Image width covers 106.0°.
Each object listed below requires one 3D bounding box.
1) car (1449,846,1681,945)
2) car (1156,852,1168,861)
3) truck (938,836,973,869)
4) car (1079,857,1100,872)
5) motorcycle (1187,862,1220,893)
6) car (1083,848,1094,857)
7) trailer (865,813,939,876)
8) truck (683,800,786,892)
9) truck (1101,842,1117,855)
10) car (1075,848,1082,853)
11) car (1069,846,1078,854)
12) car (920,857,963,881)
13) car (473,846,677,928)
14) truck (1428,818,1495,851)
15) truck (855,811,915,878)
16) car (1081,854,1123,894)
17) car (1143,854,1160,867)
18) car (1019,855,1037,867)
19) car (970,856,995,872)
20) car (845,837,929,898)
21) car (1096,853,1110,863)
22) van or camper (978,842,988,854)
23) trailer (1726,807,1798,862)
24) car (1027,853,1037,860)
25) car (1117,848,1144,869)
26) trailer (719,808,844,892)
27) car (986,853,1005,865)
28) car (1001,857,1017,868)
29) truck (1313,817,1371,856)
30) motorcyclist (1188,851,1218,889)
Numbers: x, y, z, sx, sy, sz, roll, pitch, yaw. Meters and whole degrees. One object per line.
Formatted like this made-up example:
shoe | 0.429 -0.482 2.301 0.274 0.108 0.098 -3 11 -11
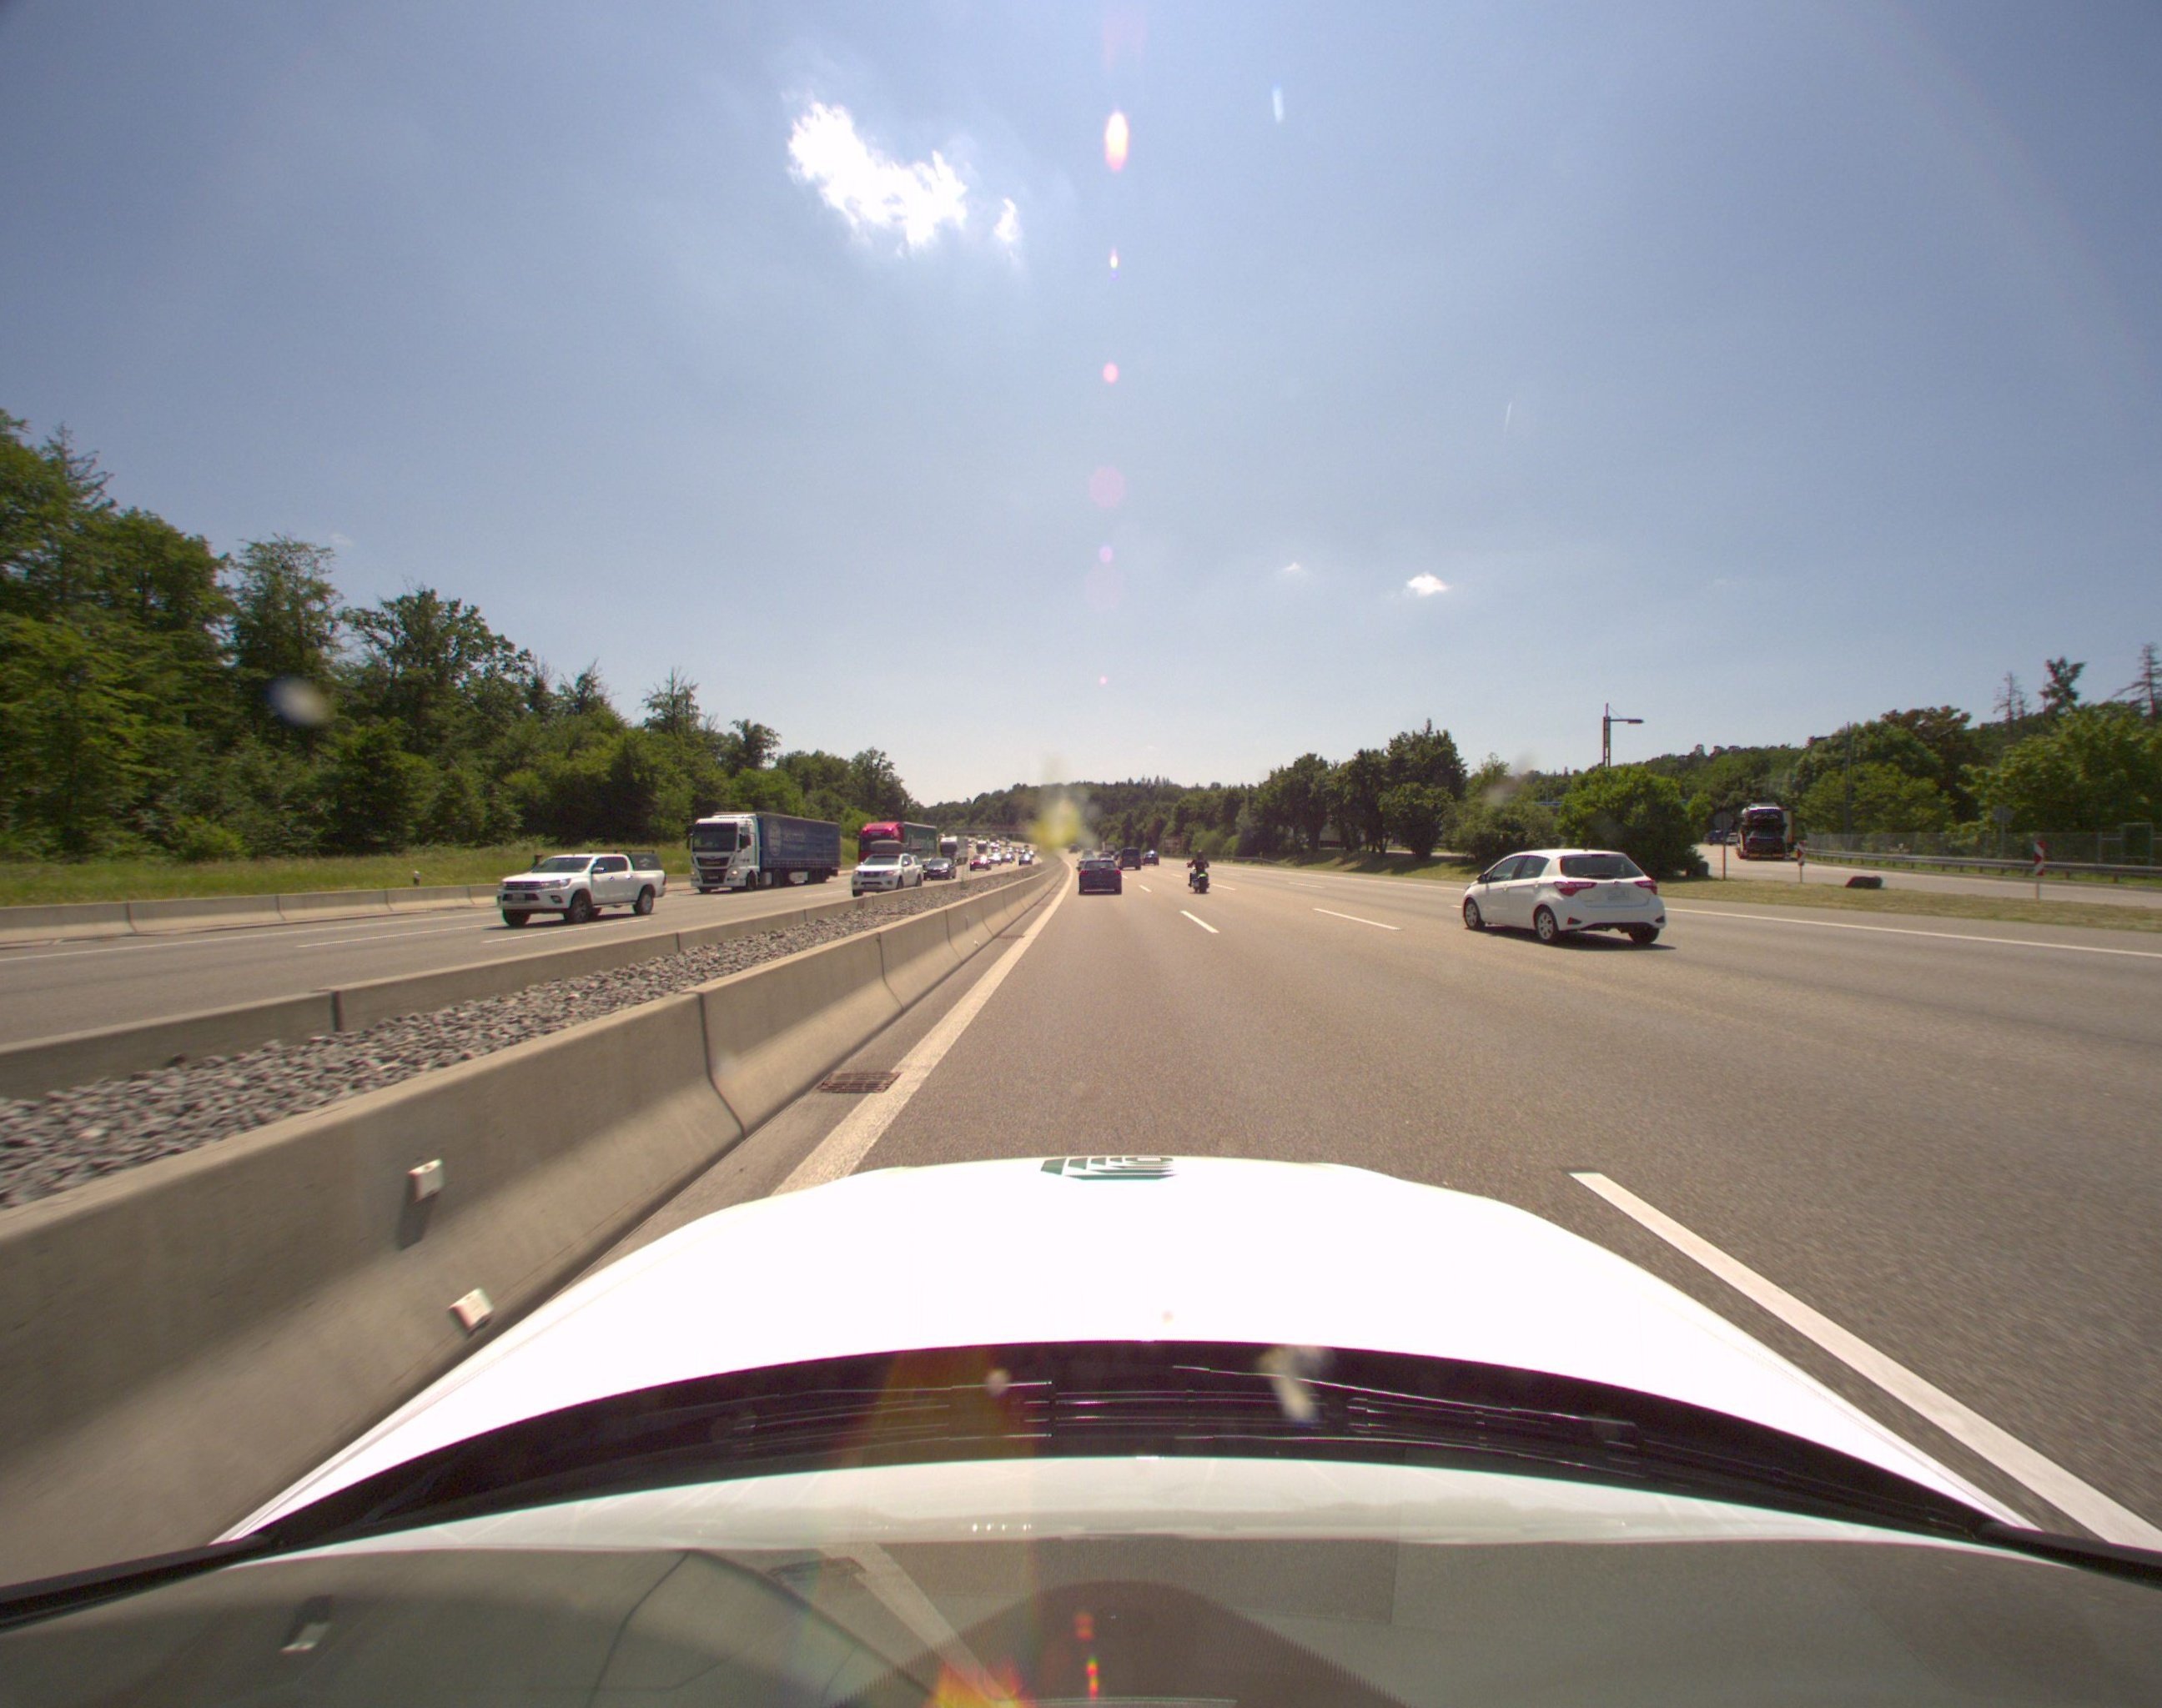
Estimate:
car | 8.022 0.614 14.037 1.659 1.433 4.380 -1 0 4
car | 11.800 0.347 119.106 1.602 1.212 3.462 -1 -2 3
truck | -18.122 -0.180 118.710 2.892 4.351 16.543 -1 0 -2
car | 0.711 0.895 71.964 1.777 1.265 3.458 -2 0 -1
motorcycle | 4.746 0.892 31.636 0.974 1.129 2.271 -1 0 1
car | 1.495 -0.382 160.900 1.987 1.684 4.424 2 0 0
trailer | -13.523 -0.692 63.146 2.493 4.351 14.301 0 0 0
truck | -17.713 -0.362 42.165 2.493 4.351 6.604 -1 0 0
truck | 6.462 -1.286 187.825 2.724 2.786 5.669 2 0 -7
car | -0.730 -1.126 253.885 1.987 1.574 4.000 2 0 0
car | -2.015 -1.197 230.006 1.992 2.013 4.663 2 0 -7
car | -9.460 0.961 55.589 1.986 1.548 4.882 -1 0 1
car | -13.722 0.804 22.658 1.986 1.970 5.739 -1 0 1
truck | 45.374 -2.233 97.554 3.314 3.564 10.555 -1 0 1
truck | -13.504 -0.644 56.725 2.492 4.351 6.606 0 0 1
car | 0.824 0.763 33.071 1.619 1.487 3.685 -1 0 0
car | 7.936 0.725 91.949 1.670 1.432 3.685 1 -1 0
car | -6.993 0.949 107.640 1.987 1.548 4.880 -2 0 0
car | -10.035 1.011 83.201 1.987 1.548 4.880 -2 0 0
car | -7.914 0.511 33.897 1.986 2.289 5.766 -1 0 1
car | 3.074 0.507 112.861 1.836 1.222 4.224 2 0 0
van or camper | -24.770 -1.476 206.114 2.311 2.771 7.149 2 2 -6
trailer | 50.718 -1.482 60.981 3.128 3.637 13.709 -1 1 36
car | -10.459 0.566 174.878 1.983 1.548 4.872 -1 0 -5
car | 4.471 0.399 73.972 2.091 1.851 4.078 -1 0 -1
trailer | -17.665 -0.261 49.476 2.493 4.351 13.697 0 0 0
car | -11.676 0.681 110.909 1.987 1.548 4.881 -2 0 0
car | -11.118 1.276 125.699 2.018 1.548 4.880 -2 0 0
truck | 34.473 -2.183 108.417 3.314 4.829 14.702 -1 0 1
motorcyclist | 4.718 0.598 31.552 0.959 1.437 1.235 -1 0 0
